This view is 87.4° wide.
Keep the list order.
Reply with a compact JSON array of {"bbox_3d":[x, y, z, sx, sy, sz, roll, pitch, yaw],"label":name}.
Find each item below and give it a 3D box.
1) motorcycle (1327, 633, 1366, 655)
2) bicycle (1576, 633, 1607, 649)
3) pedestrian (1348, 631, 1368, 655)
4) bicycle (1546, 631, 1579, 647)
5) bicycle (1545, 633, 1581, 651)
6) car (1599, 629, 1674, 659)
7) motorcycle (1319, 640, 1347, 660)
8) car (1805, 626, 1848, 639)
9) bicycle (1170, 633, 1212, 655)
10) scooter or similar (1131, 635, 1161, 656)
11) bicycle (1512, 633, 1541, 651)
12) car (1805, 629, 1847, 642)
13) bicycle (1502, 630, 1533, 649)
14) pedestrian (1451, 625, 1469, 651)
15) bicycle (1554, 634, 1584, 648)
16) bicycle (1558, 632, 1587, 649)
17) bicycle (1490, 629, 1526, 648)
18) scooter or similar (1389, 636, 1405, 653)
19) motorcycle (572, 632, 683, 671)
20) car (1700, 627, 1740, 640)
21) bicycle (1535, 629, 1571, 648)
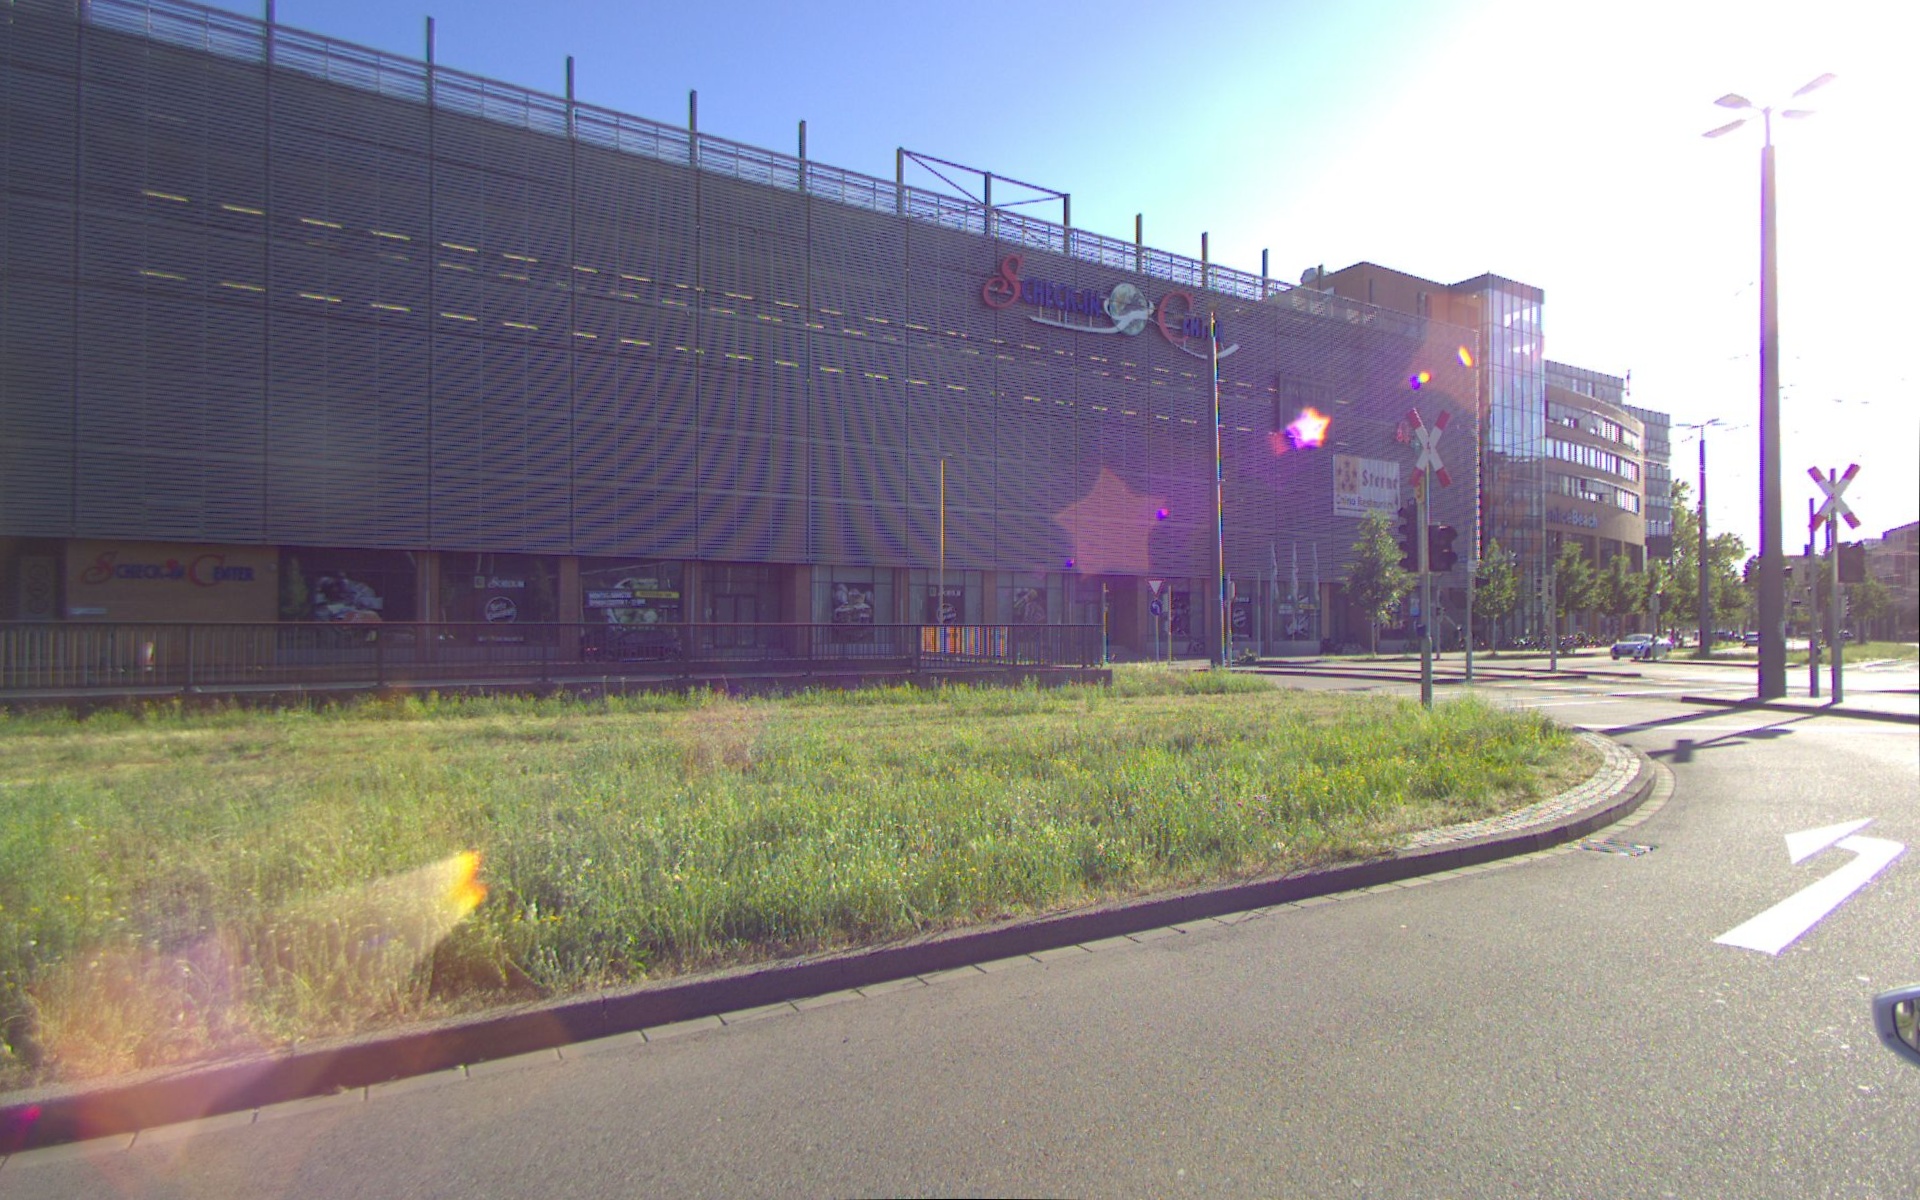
[{"bbox_3d":[25.453,2.893,66.119,2.582,1.465,0.963,1,-1,-27],"label":"motorcycle"},{"bbox_3d":[57.967,3.743,92.201,0.777,1.452,2.417,1,-3,-21],"label":"bicycle"},{"bbox_3d":[27.423,2.976,69.170,0.819,1.586,0.983,2,-3,-30],"label":"pedestrian"},{"bbox_3d":[53.446,3.464,89.177,0.760,1.452,2.603,1,-3,-21],"label":"bicycle"},{"bbox_3d":[49.705,3.435,82.806,0.891,1.452,2.558,1,-3,-21],"label":"bicycle"},{"bbox_3d":[38.056,2.441,56.476,4.484,1.566,1.981,1,-2,-35],"label":"car"},{"bbox_3d":[23.697,3.209,63.871,1.872,1.255,0.672,2,-3,-31],"label":"motorcycle"},{"bbox_3d":[118.477,4.452,137.319,4.328,1.661,1.999,1,-1,-6],"label":"car"},{"bbox_3d":[13.179,2.522,57.230,2.384,1.237,0.797,1,-1,-27],"label":"bicycle"},{"bbox_3d":[10.700,2.623,57.890,1.555,1.222,0.790,2,-3,-30],"label":"scooter or similar"},{"bbox_3d":[44.766,3.317,79.422,0.795,1.452,1.975,1,-3,-21],"label":"bicycle"},{"bbox_3d":[113.156,4.586,131.273,4.335,1.661,1.996,1,-1,-12],"label":"car"},{"bbox_3d":[43.805,3.088,78.906,0.848,1.452,2.080,1,-3,-21],"label":"bicycle"},{"bbox_3d":[36.006,2.762,72.319,0.894,1.848,0.823,2,-3,-29],"label":"pedestrian"},{"bbox_3d":[54.579,3.658,90.035,0.734,1.252,2.410,1,-3,-21],"label":"bicycle"},{"bbox_3d":[55.231,3.651,90.592,0.707,1.452,2.242,1,-3,-21],"label":"bicycle"},{"bbox_3d":[42.813,3.019,78.509,1.060,1.452,2.366,1,-3,-21],"label":"bicycle"},{"bbox_3d":[30.145,3.077,69.304,1.138,1.124,0.419,2,-3,-30],"label":"scooter or similar"},{"bbox_3d":[-13.436,2.036,40.584,3.953,1.472,1.984,1,-2,-30],"label":"motorcycle"},{"bbox_3d":[104.286,4.577,137.789,3.922,1.728,2.000,0,-3,21],"label":"car"},{"bbox_3d":[47.993,3.115,81.322,0.891,1.452,2.558,1,-3,-21],"label":"bicycle"}]
